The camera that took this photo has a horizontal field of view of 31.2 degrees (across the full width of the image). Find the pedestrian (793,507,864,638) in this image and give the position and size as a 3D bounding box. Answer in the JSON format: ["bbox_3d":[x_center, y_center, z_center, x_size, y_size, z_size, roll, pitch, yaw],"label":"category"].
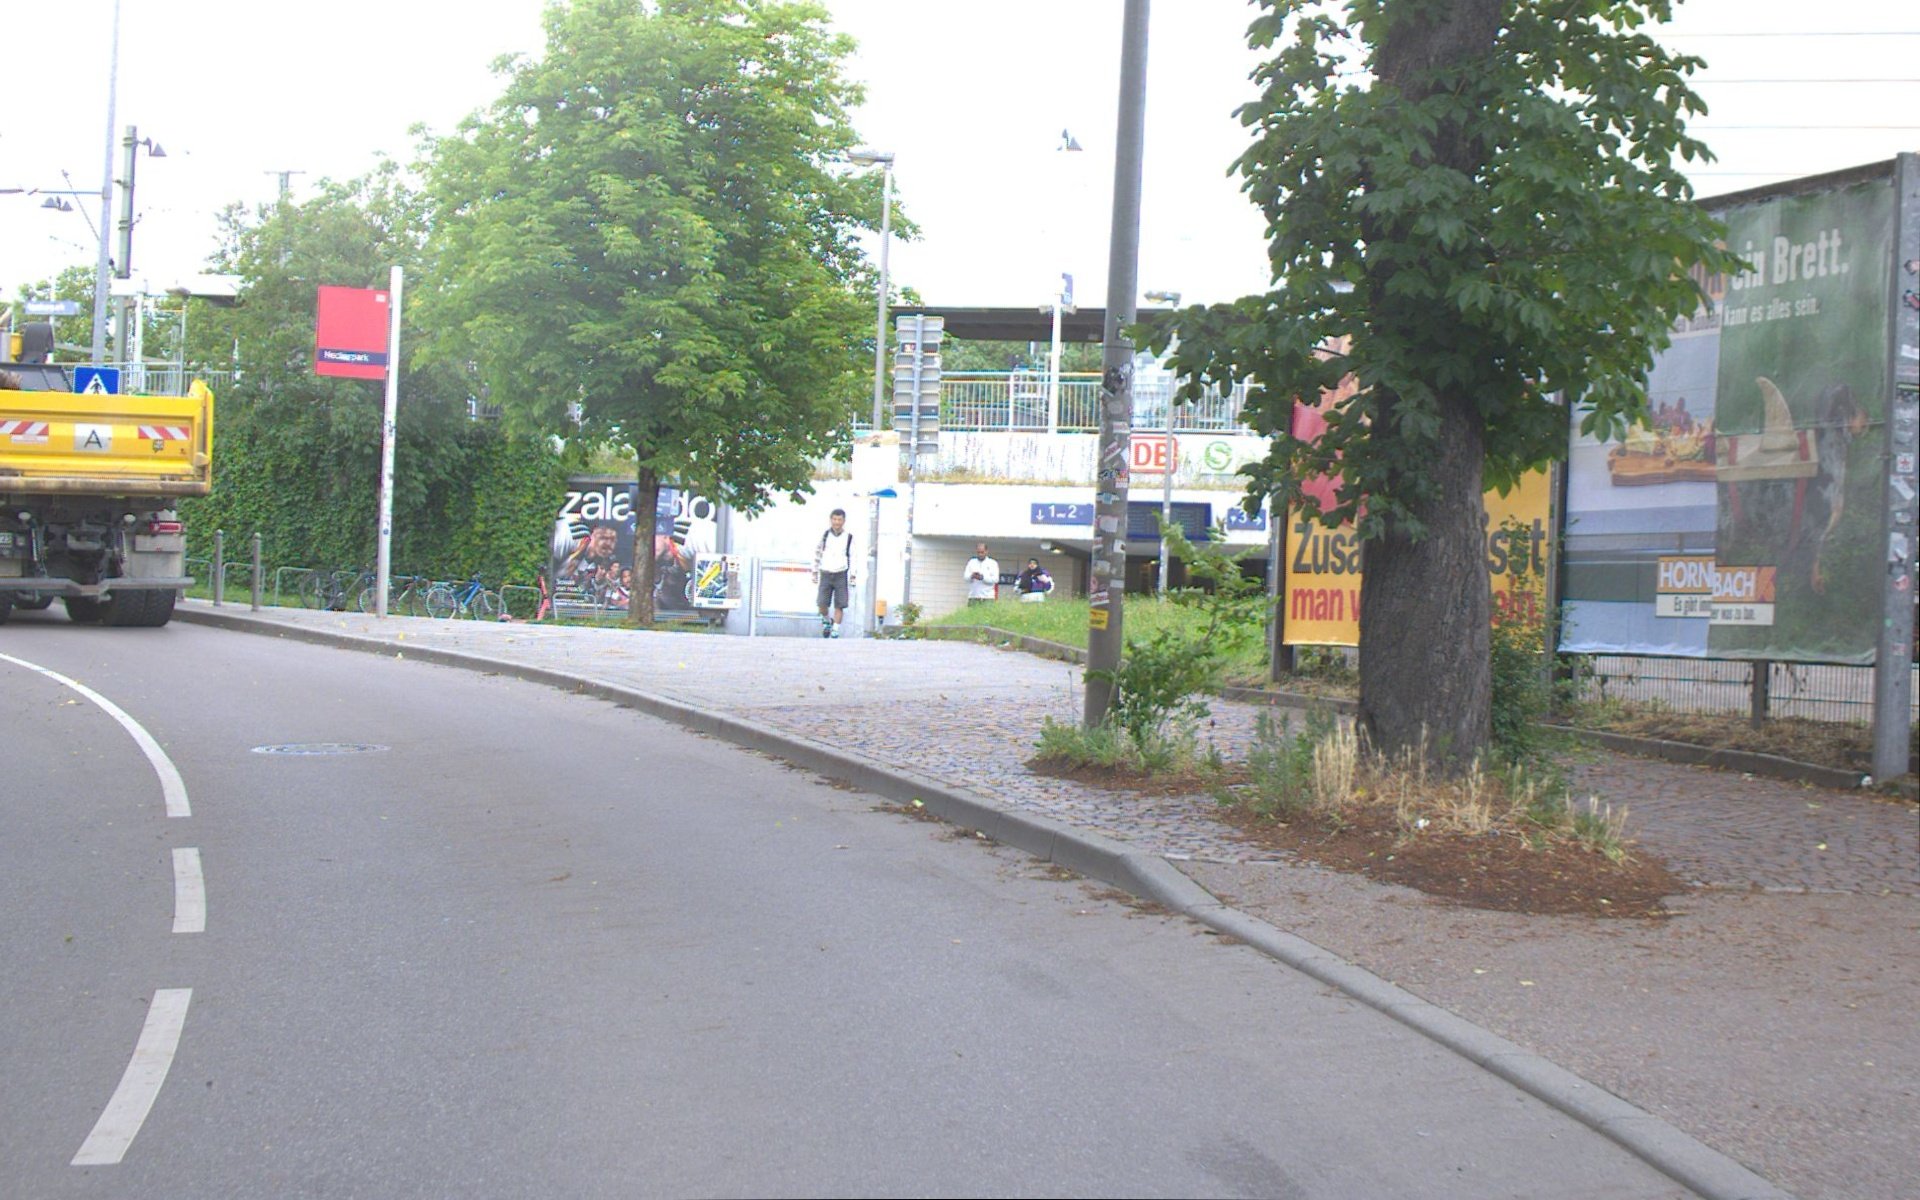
[{"bbox_3d":[-1.712,-0.349,44.844,0.848,1.678,0.940,1,-1,1],"label":"pedestrian"}]

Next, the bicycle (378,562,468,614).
[{"bbox_3d":[-10.328,-0.227,66.141,1.575,0.851,0.463,5,-1,-32],"label":"bicycle"}]

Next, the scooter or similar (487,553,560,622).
[{"bbox_3d":[-8.227,-0.229,64.820,1.187,1.202,0.468,5,-1,-32],"label":"scooter or similar"}]

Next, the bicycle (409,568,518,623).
[{"bbox_3d":[-9.452,-0.085,65.531,1.966,0.862,0.511,6,-1,-35],"label":"bicycle"}]

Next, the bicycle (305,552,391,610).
[{"bbox_3d":[-11.773,-0.373,66.163,1.487,0.986,0.694,5,0,-17],"label":"bicycle"}]

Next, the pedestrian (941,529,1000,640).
[{"bbox_3d":[0.169,-0.241,53.796,0.814,1.697,0.749,2,-1,5],"label":"pedestrian"}]

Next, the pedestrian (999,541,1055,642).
[{"bbox_3d":[1.082,-0.132,55.037,0.799,1.578,0.801,2,-1,5],"label":"pedestrian"}]

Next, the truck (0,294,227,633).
[{"bbox_3d":[-11.173,-1.674,40.042,2.764,3.471,8.131,2,2,-29],"label":"truck"}]
